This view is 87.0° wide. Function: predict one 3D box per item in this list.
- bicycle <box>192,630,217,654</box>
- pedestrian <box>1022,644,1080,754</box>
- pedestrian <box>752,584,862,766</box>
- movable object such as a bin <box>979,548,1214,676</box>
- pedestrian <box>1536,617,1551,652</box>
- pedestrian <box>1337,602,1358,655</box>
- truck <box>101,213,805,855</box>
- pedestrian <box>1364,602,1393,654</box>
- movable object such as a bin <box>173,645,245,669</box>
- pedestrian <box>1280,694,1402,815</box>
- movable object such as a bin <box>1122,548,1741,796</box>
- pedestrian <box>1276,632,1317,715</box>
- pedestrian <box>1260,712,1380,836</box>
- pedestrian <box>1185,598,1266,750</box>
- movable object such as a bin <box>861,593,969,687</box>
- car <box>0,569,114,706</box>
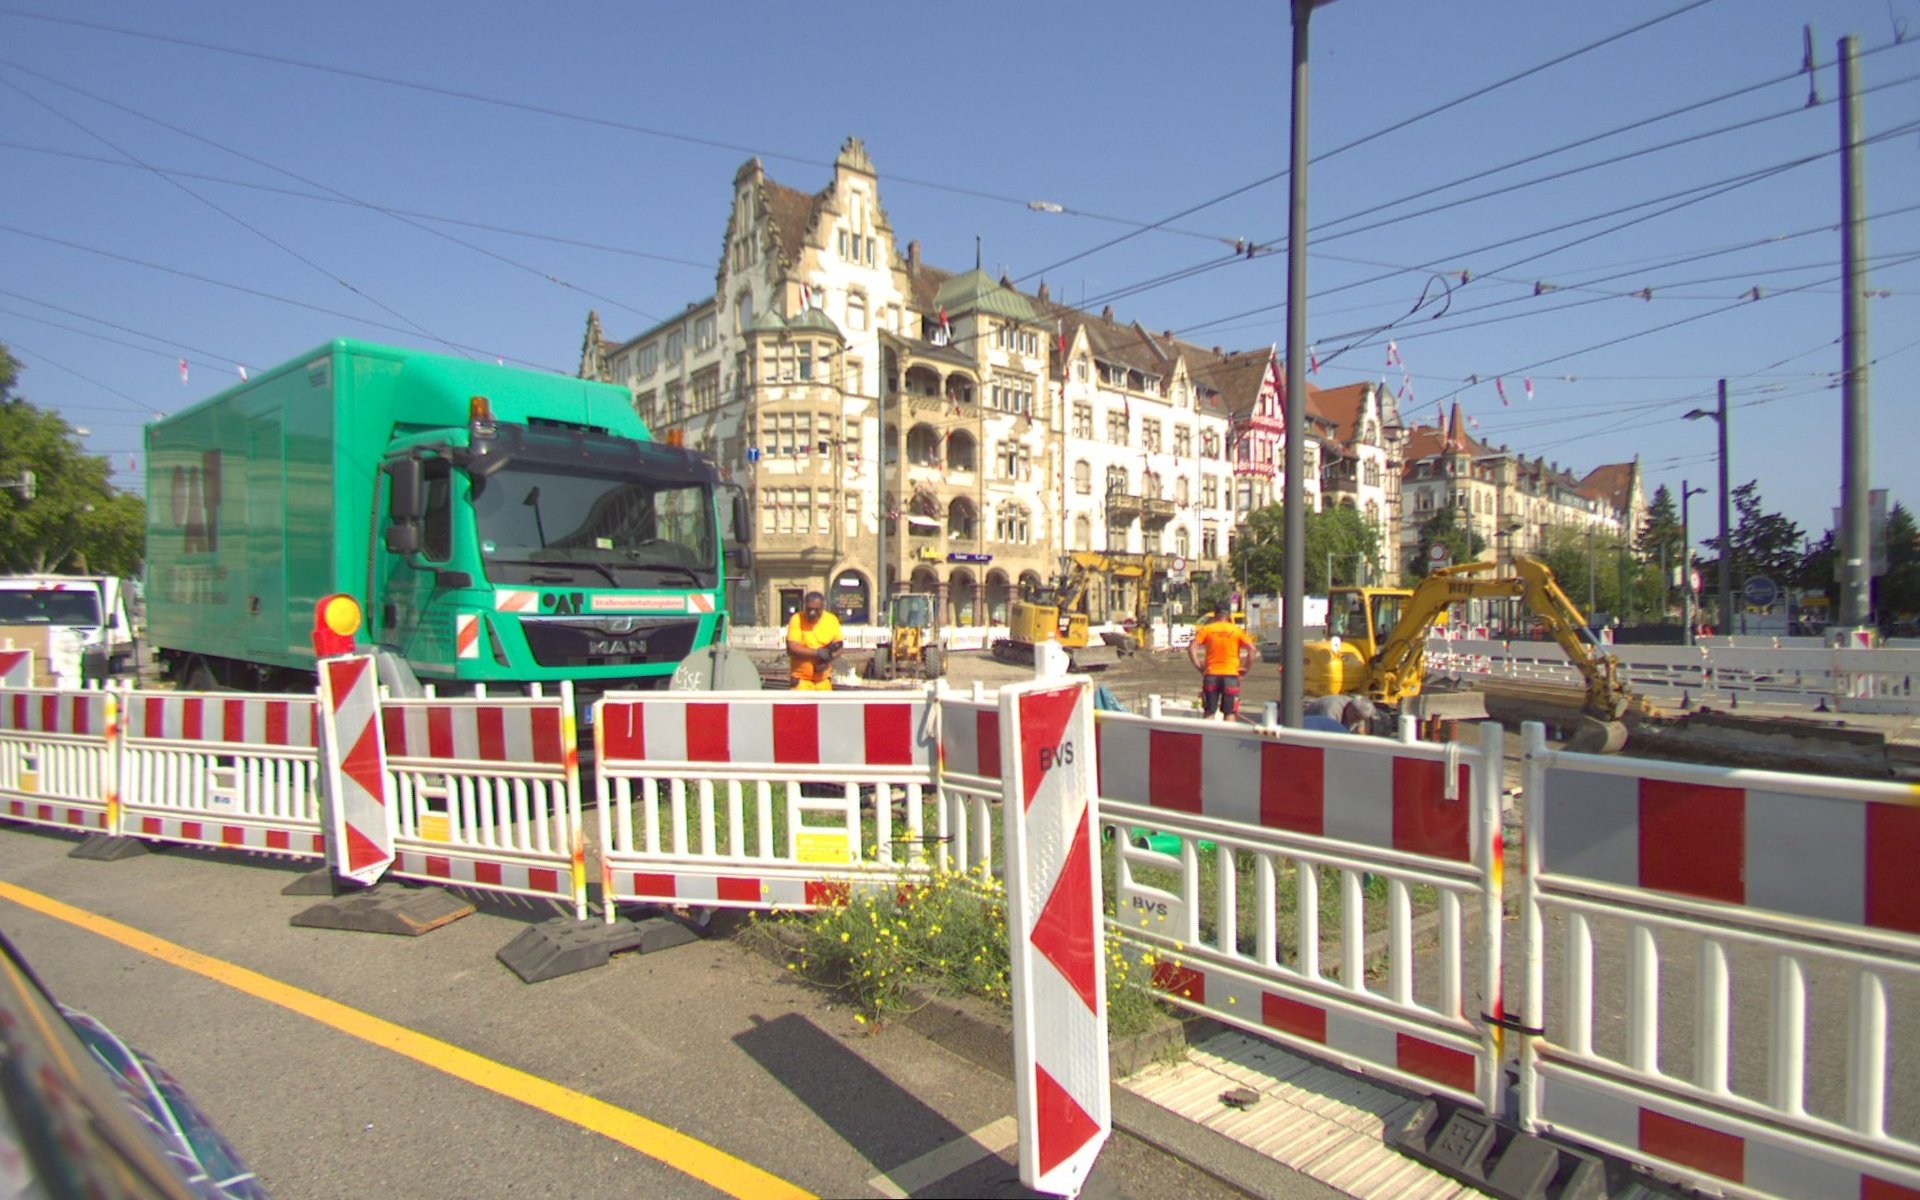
[{"bbox_3d":[-36.725,2.033,49.195,1.966,1.107,0.556,0,0,40],"label":"bicycle"},{"bbox_3d":[1.334,1.435,14.881,0.690,1.578,0.558,0,-2,-15],"label":"pedestrian"},{"bbox_3d":[-1.408,0.668,9.311,0.751,1.578,0.692,2,-3,-41],"label":"pedestrian"},{"bbox_3d":[5.112,0.451,38.388,7.254,4.380,4.986,1,0,-27],"label":"movable object such as a bin"},{"bbox_3d":[34.105,1.998,59.179,0.636,2.029,0.670,-1,-1,39],"label":"pedestrian"},{"bbox_3d":[15.466,1.126,40.397,0.666,2.080,0.891,-1,-1,26],"label":"pedestrian"},{"bbox_3d":[-5.477,-0.316,9.894,8.405,3.942,2.766,-2,-1,38],"label":"truck"},{"bbox_3d":[16.504,1.108,39.889,0.658,2.029,0.830,0,-1,-17],"label":"pedestrian"},{"bbox_3d":[-23.823,1.812,32.137,1.696,0.719,0.719,0,-1,-7],"label":"movable object such as a bin"},{"bbox_3d":[3.541,1.408,9.425,0.935,0.996,0.505,-2,-3,44],"label":"pedestrian"},{"bbox_3d":[7.076,0.846,16.556,3.568,2.980,8.490,-1,0,-40],"label":"movable object such as a bin"},{"bbox_3d":[7.363,1.593,22.160,0.827,1.762,0.664,-1,-2,19],"label":"pedestrian"},{"bbox_3d":[3.042,1.449,8.567,0.808,0.933,0.514,1,-2,-22],"label":"pedestrian"},{"bbox_3d":[2.862,0.780,10.927,0.811,1.578,0.554,-1,-2,15],"label":"pedestrian"},{"bbox_3d":[-1.371,1.262,33.211,2.424,2.856,4.797,0,-1,12],"label":"movable object such as a bin"},{"bbox_3d":[-19.086,0.726,21.090,2.179,2.443,7.211,1,-2,-40],"label":"car"}]
